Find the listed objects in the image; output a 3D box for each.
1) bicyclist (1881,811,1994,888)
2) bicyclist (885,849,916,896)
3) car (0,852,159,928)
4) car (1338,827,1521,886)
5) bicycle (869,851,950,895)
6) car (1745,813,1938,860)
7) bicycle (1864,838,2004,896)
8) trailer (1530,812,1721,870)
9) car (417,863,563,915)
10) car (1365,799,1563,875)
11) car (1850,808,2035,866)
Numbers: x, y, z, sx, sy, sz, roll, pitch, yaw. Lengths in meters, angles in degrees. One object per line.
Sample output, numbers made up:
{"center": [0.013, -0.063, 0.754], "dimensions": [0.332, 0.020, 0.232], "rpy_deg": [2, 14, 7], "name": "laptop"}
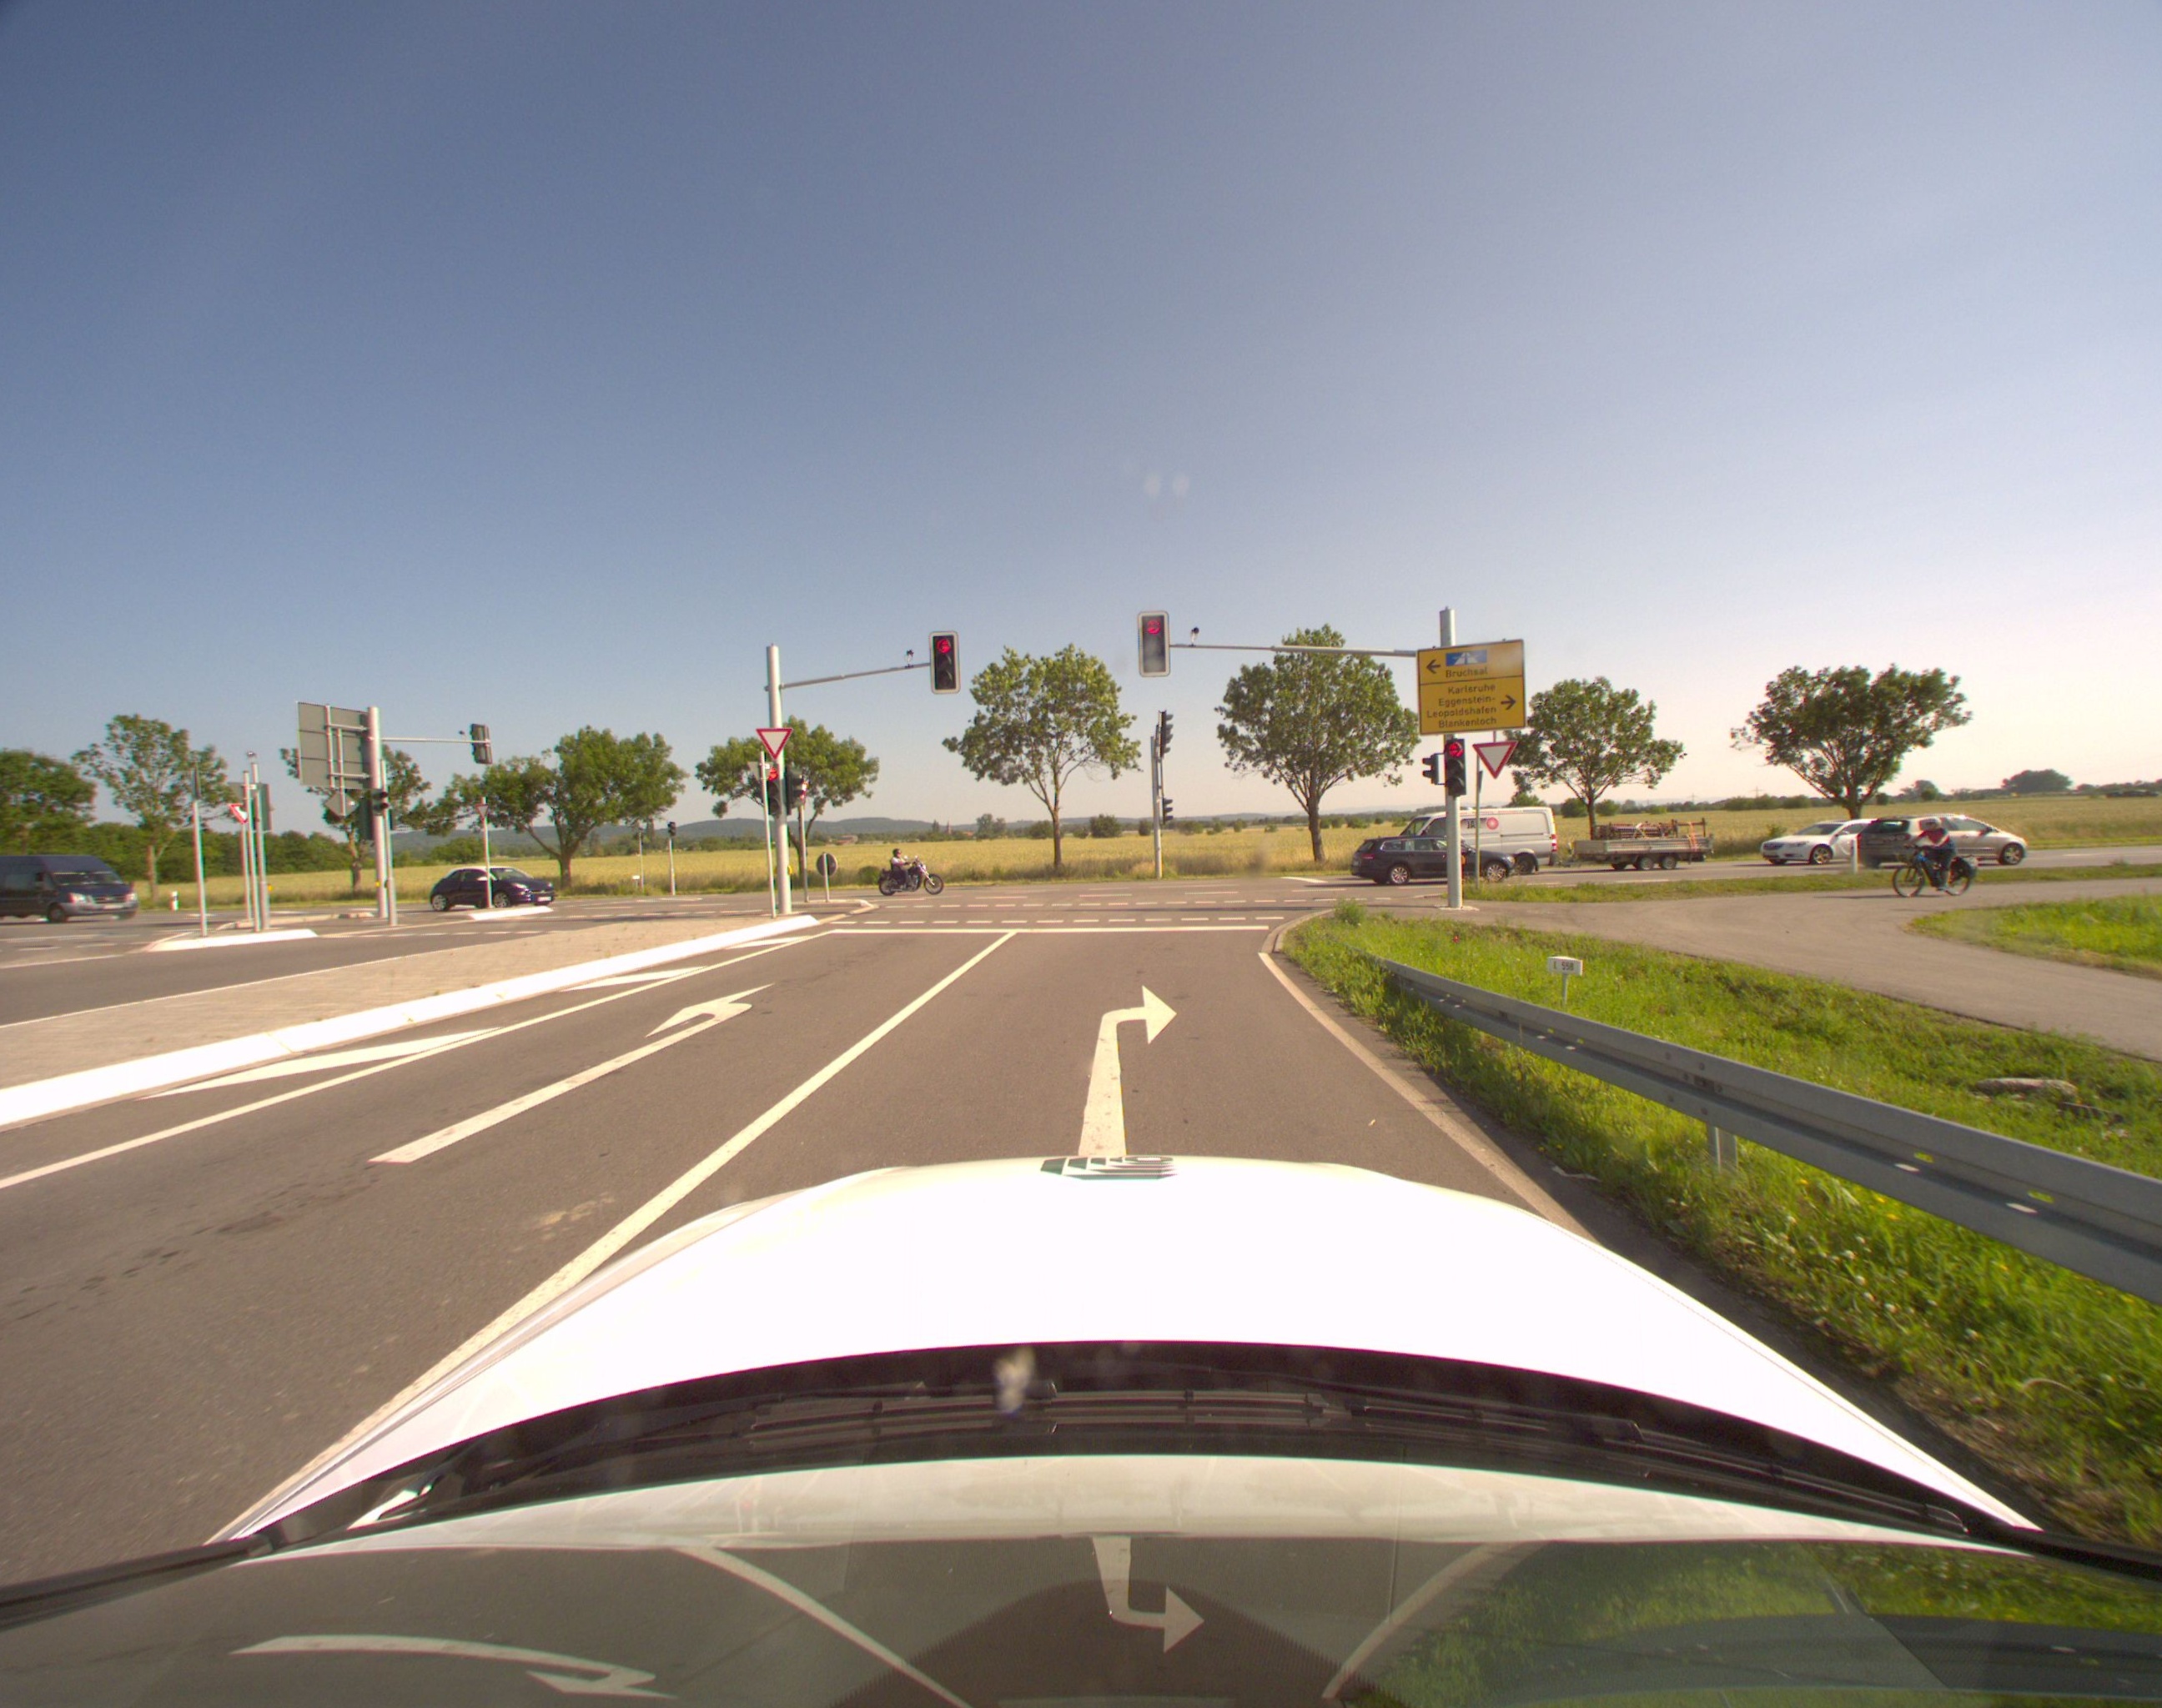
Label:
{"center": [18.738, -0.119, 17.857], "dimensions": [1.275, 1.601, 1.165], "rpy_deg": [-1, 2, 0], "name": "bicyclist"}
{"center": [-5.877, 0.593, 26.545], "dimensions": [0.805, 1.489, 0.757], "rpy_deg": [-1, 0, 0], "name": "bicyclist"}
{"center": [-38.225, 1.364, 30.714], "dimensions": [5.690, 2.622, 2.042], "rpy_deg": [-2, 1, 14], "name": "car"}
{"center": [10.353, 0.071, 24.426], "dimensions": [4.660, 1.519, 1.921], "rpy_deg": [-2, 0, -2], "name": "car"}
{"center": [-5.573, 0.607, 26.581], "dimensions": [2.484, 1.397, 0.732], "rpy_deg": [-1, 0, -2], "name": "bicycle"}
{"center": [26.130, -0.595, 28.094], "dimensions": [4.854, 1.510, 1.999], "rpy_deg": [-1, 0, -1], "name": "car"}
{"center": [18.647, 0.281, 17.835], "dimensions": [2.149, 1.186, 0.890], "rpy_deg": [-1, 0, -1], "name": "bicycle"}
{"center": [18.757, -0.430, 28.222], "dimensions": [5.240, 1.753, 1.955], "rpy_deg": [-2, 0, 2], "name": "trailer"}
{"center": [-19.519, 1.131, 26.970], "dimensions": [3.703, 1.457, 1.734], "rpy_deg": [-3, 2, 11], "name": "car"}
{"center": [13.149, -0.568, 28.248], "dimensions": [5.933, 2.492, 2.001], "rpy_deg": [-1, 0, 2], "name": "car"}
{"center": [25.860, -0.496, 24.525], "dimensions": [3.948, 1.668, 1.761], "rpy_deg": [-1, 0, -5], "name": "car"}
